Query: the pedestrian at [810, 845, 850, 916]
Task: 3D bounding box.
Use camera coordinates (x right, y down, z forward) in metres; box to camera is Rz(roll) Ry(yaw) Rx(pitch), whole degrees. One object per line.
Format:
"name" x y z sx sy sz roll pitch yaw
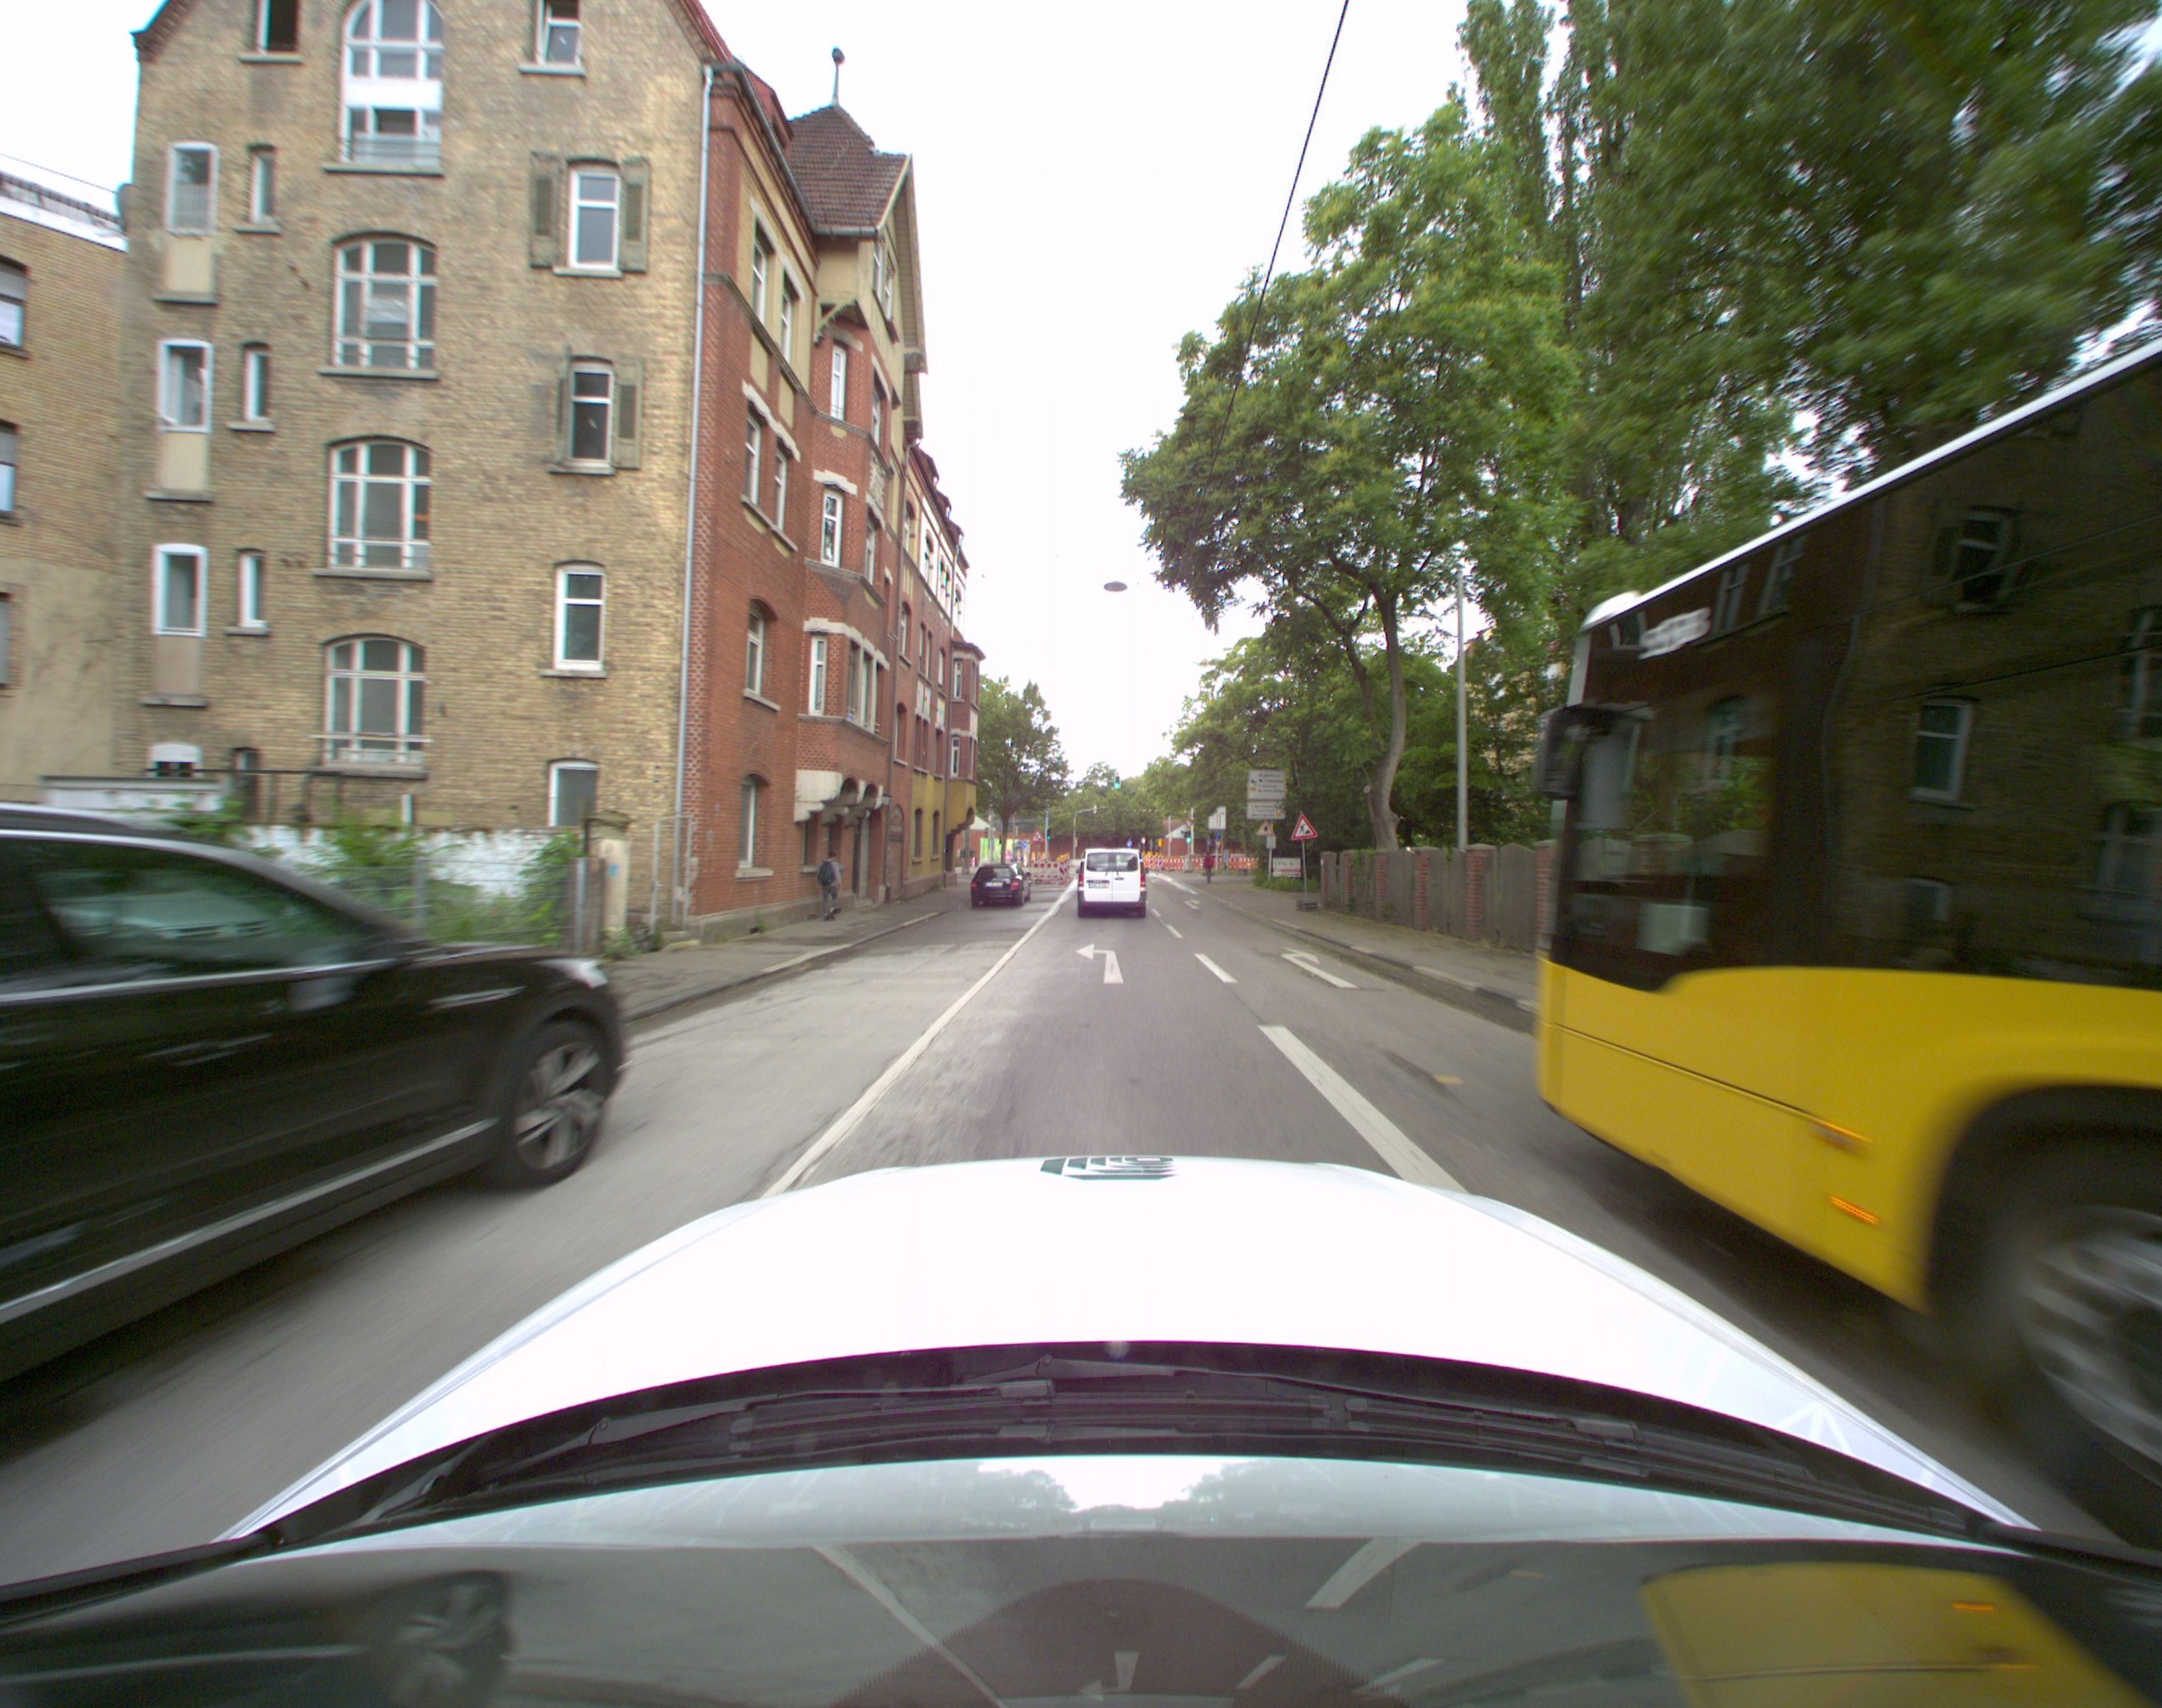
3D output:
"pedestrian" -5.940 0.614 19.308 0.657 1.609 0.633 3 1 2

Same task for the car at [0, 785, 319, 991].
"car" -9.382 0.259 7.260 3.582 1.612 1.689 0 0 1

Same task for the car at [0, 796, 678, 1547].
"car" -3.431 0.699 2.409 1.947 1.733 4.775 2 1 1

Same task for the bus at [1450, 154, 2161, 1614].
"bus" 3.613 0.084 0.530 2.662 3.138 9.221 4 0 2

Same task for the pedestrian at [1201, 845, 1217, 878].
"pedestrian" 7.078 0.416 45.183 0.776 1.831 0.728 -1 0 2

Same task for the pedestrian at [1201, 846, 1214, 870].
"pedestrian" 9.226 0.282 59.319 0.730 1.697 0.836 0 1 -7

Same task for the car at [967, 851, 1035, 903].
"car" -2.740 0.748 28.852 1.718 1.485 4.394 2 2 3

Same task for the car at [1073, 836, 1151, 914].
"car" 0.853 0.615 23.638 1.911 1.902 4.701 4 -2 1
